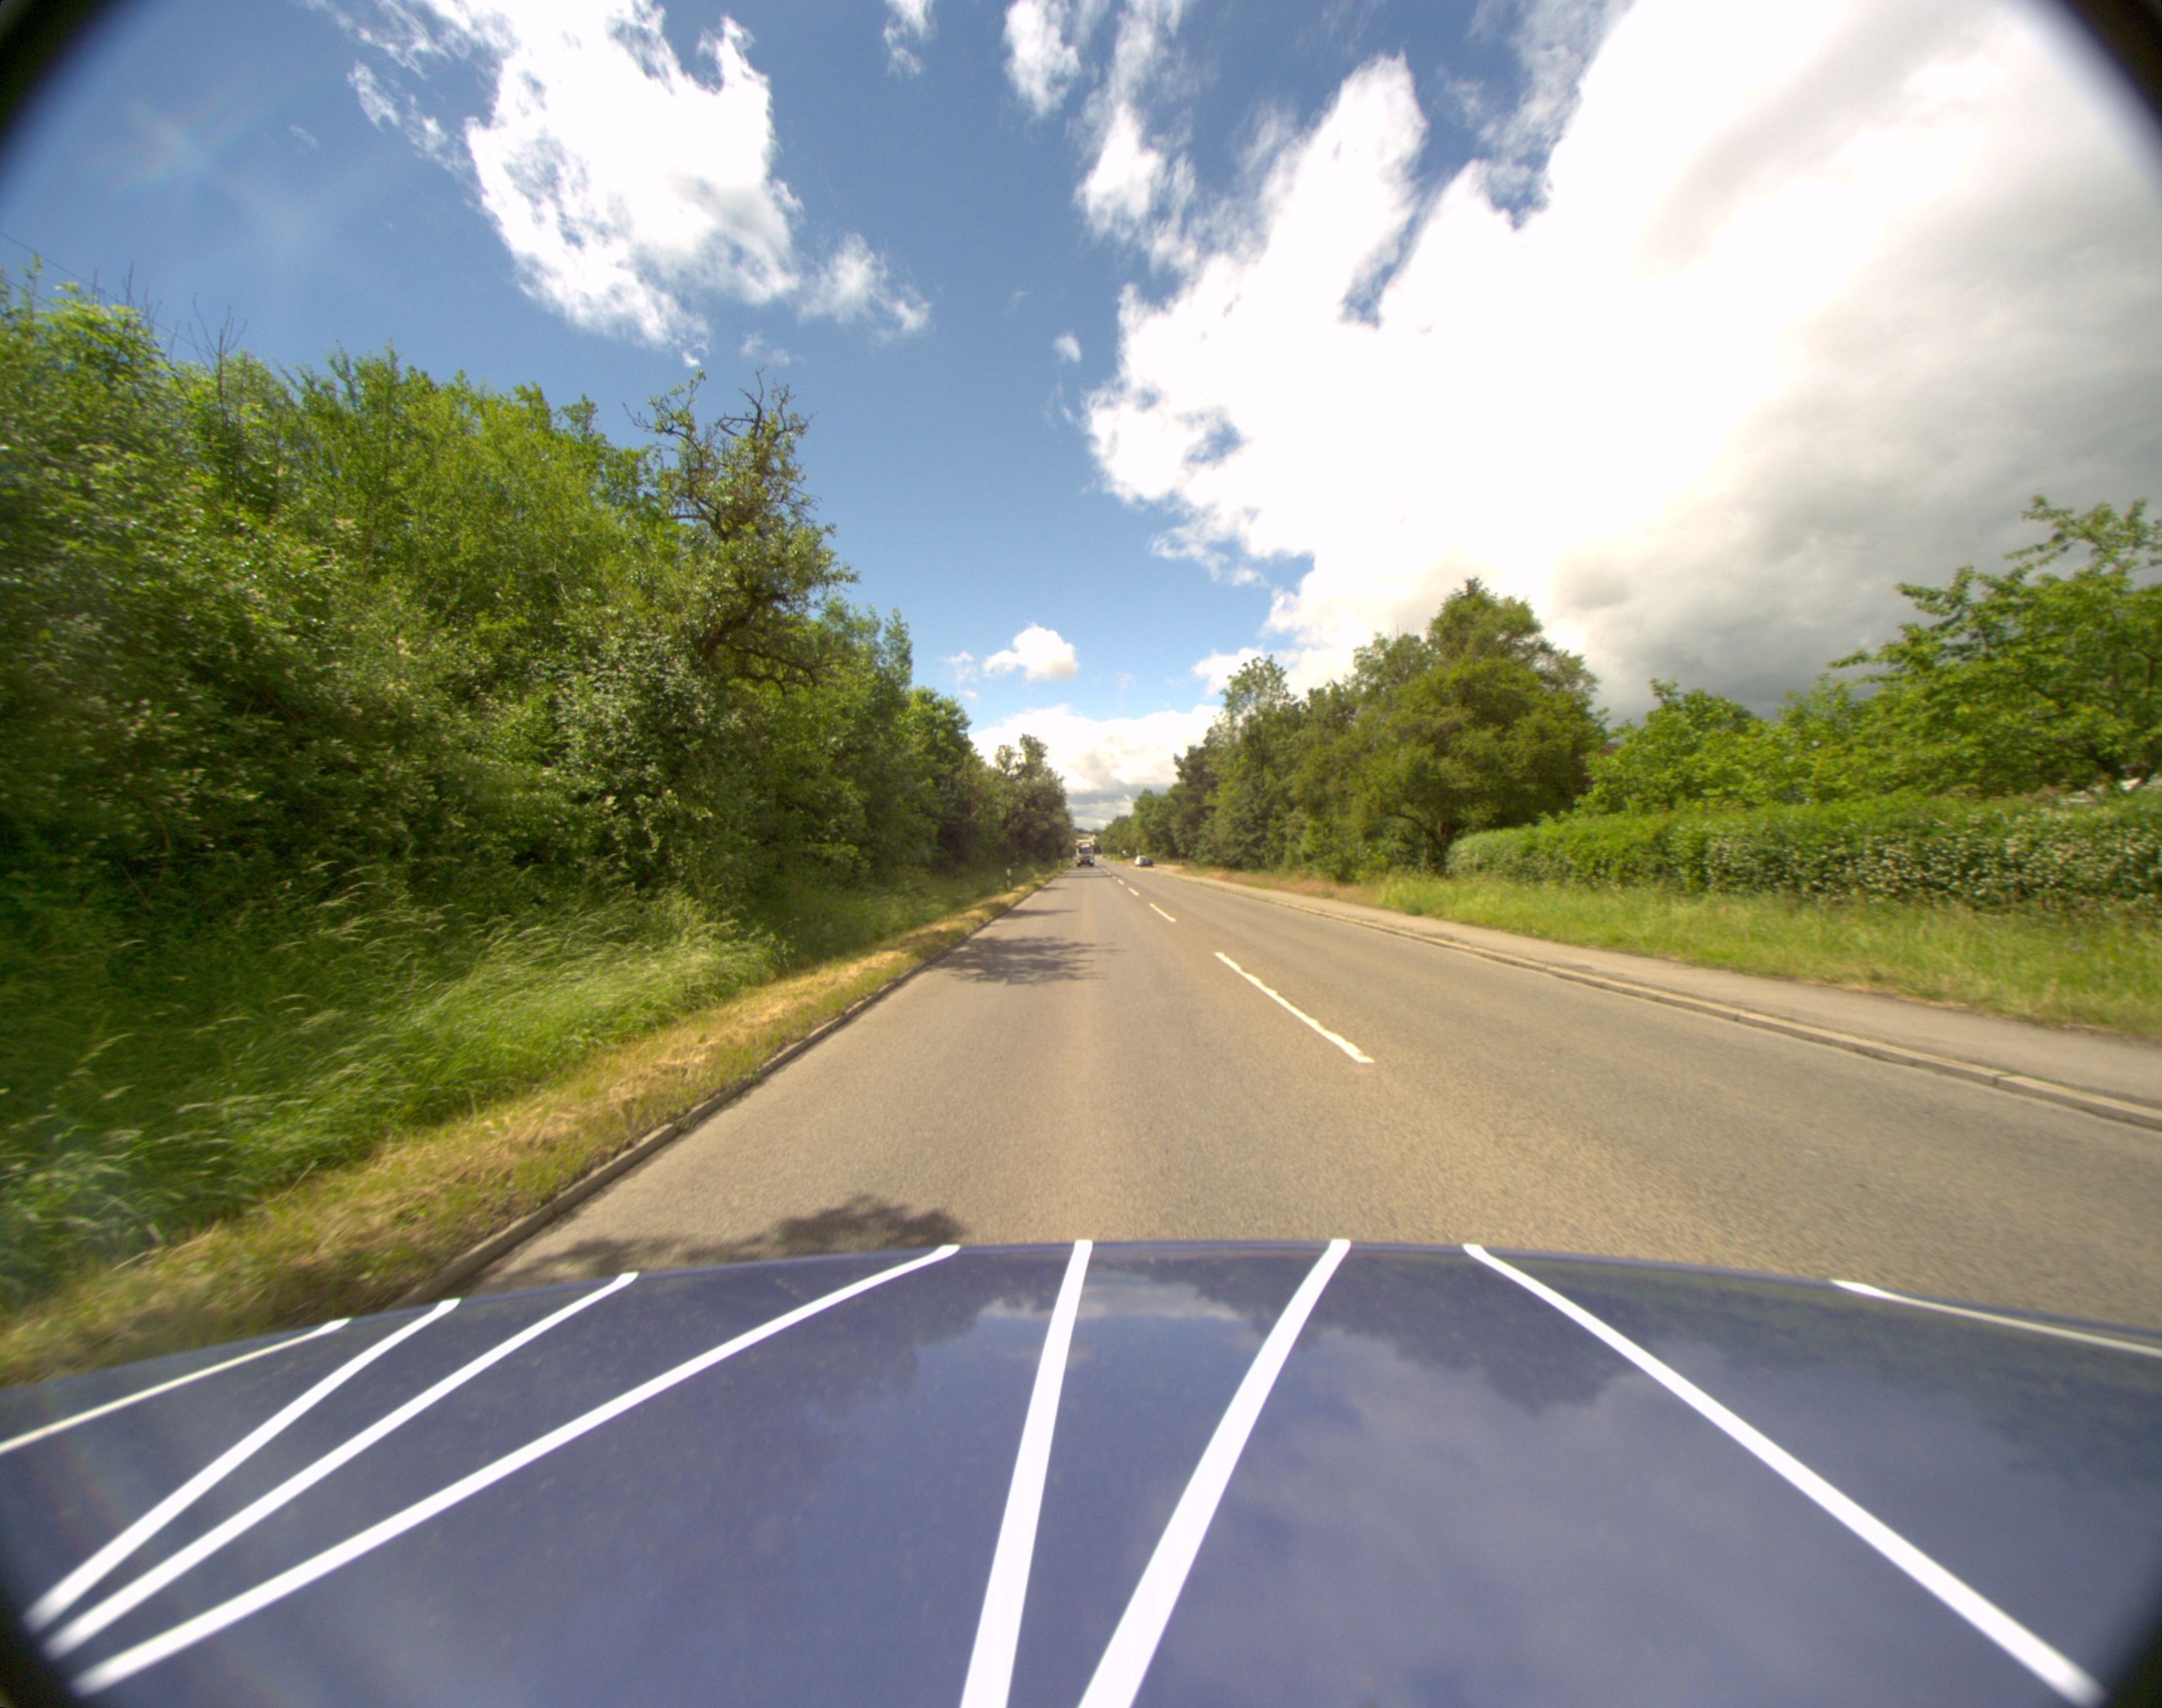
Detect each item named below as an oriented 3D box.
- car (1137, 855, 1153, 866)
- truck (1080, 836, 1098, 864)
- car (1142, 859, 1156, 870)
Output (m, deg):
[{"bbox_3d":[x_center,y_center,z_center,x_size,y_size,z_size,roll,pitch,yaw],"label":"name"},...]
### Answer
[{"bbox_3d":[9.144,0.870,108.729,1.772,1.461,4.245,-2,0,-1],"label":"car"},{"bbox_3d":[1.141,-0.555,108.704,2.306,3.790,8.183,-2,0,0],"label":"truck"},{"bbox_3d":[9.045,1.416,101.224,1.772,1.399,4.266,-2,0,3],"label":"car"}]
